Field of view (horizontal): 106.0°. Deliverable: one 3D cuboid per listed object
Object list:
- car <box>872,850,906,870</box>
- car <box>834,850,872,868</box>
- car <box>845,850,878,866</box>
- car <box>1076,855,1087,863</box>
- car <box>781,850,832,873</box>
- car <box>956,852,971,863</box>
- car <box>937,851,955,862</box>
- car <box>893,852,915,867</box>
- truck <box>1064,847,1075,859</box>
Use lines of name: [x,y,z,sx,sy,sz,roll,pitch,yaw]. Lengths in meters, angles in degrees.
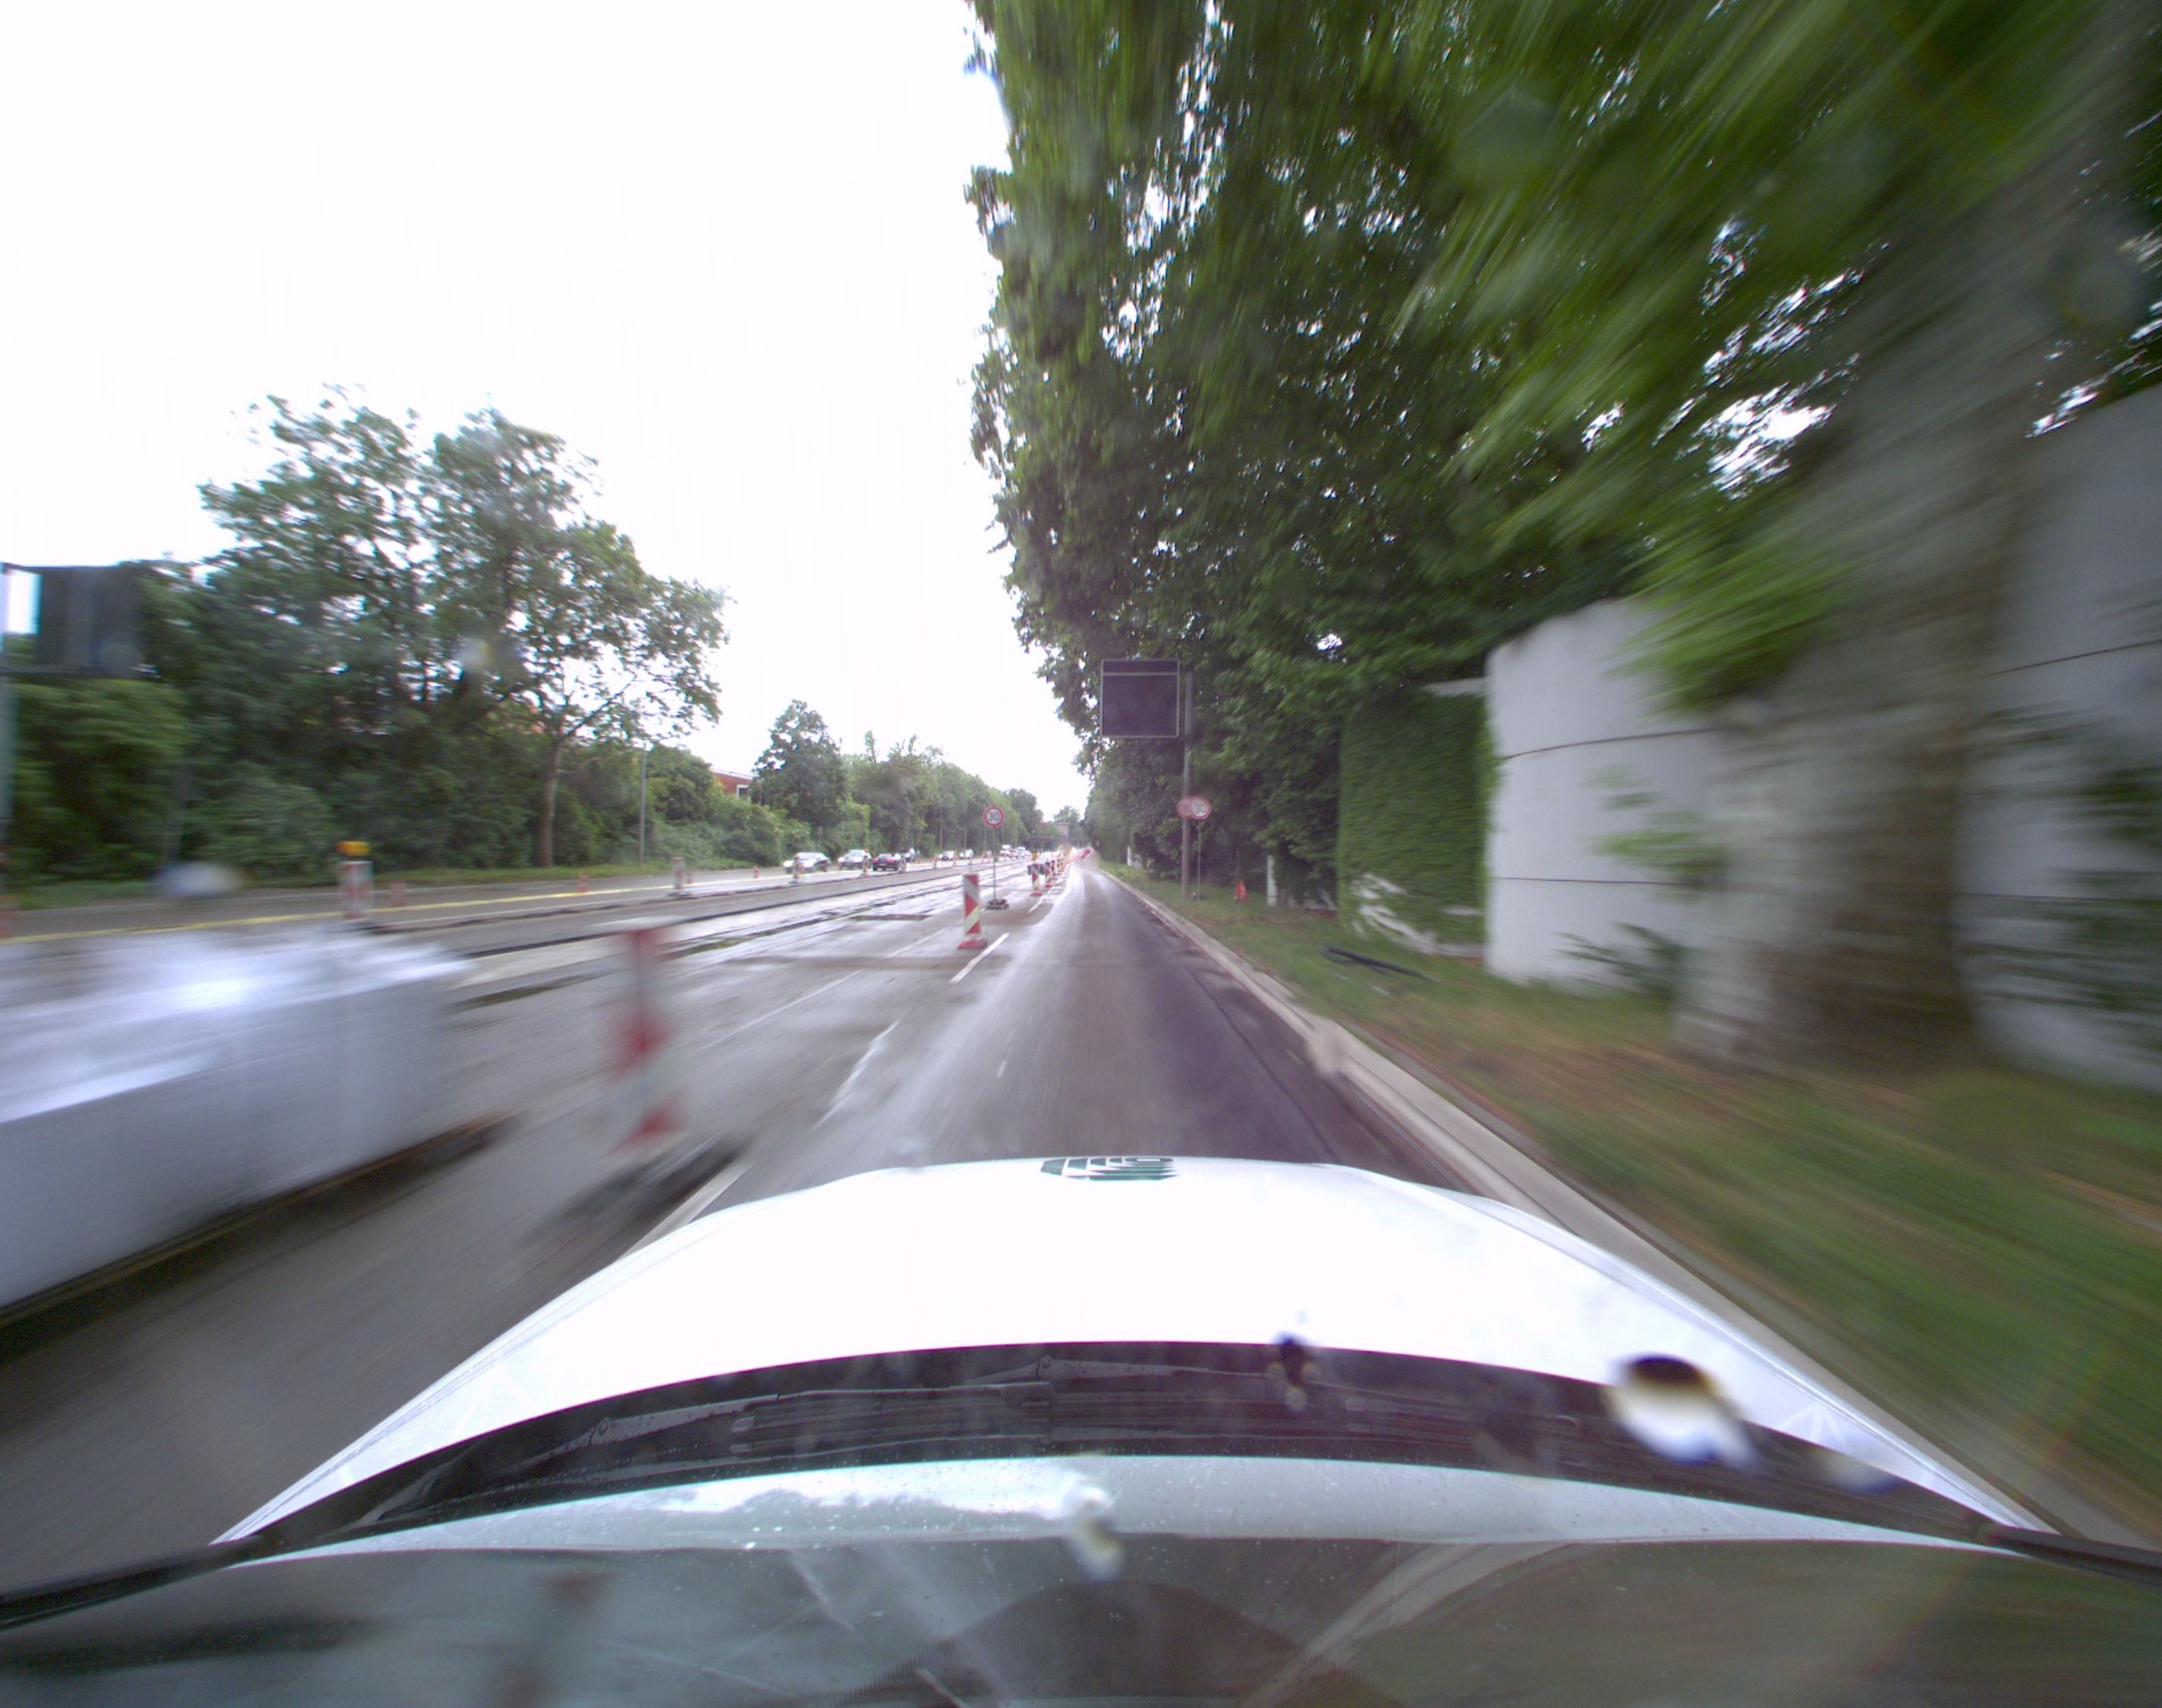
car: [-14.670,0.432,62.383,1.602,1.404,4.040,1,0,0]
car: [-18.115,0.388,64.842,1.812,1.355,4.204,-1,0,0]
car: [-20.458,0.352,76.143,1.812,1.420,4.602,2,0,0]
car: [0.111,0.893,137.099,1.692,1.336,3.490,-1,0,0]
car: [-17.767,0.460,52.836,1.812,1.355,4.389,-1,0,0]
car: [-18.904,0.595,131.029,1.729,1.722,4.492,1,0,-1]
car: [-18.826,0.285,113.621,1.755,1.483,4.898,1,0,-1]
car: [-20.933,0.582,96.550,1.648,1.685,4.532,2,0,0]
truck: [-3.420,-0.321,243.371,3.249,3.497,13.867,1,0,0]
